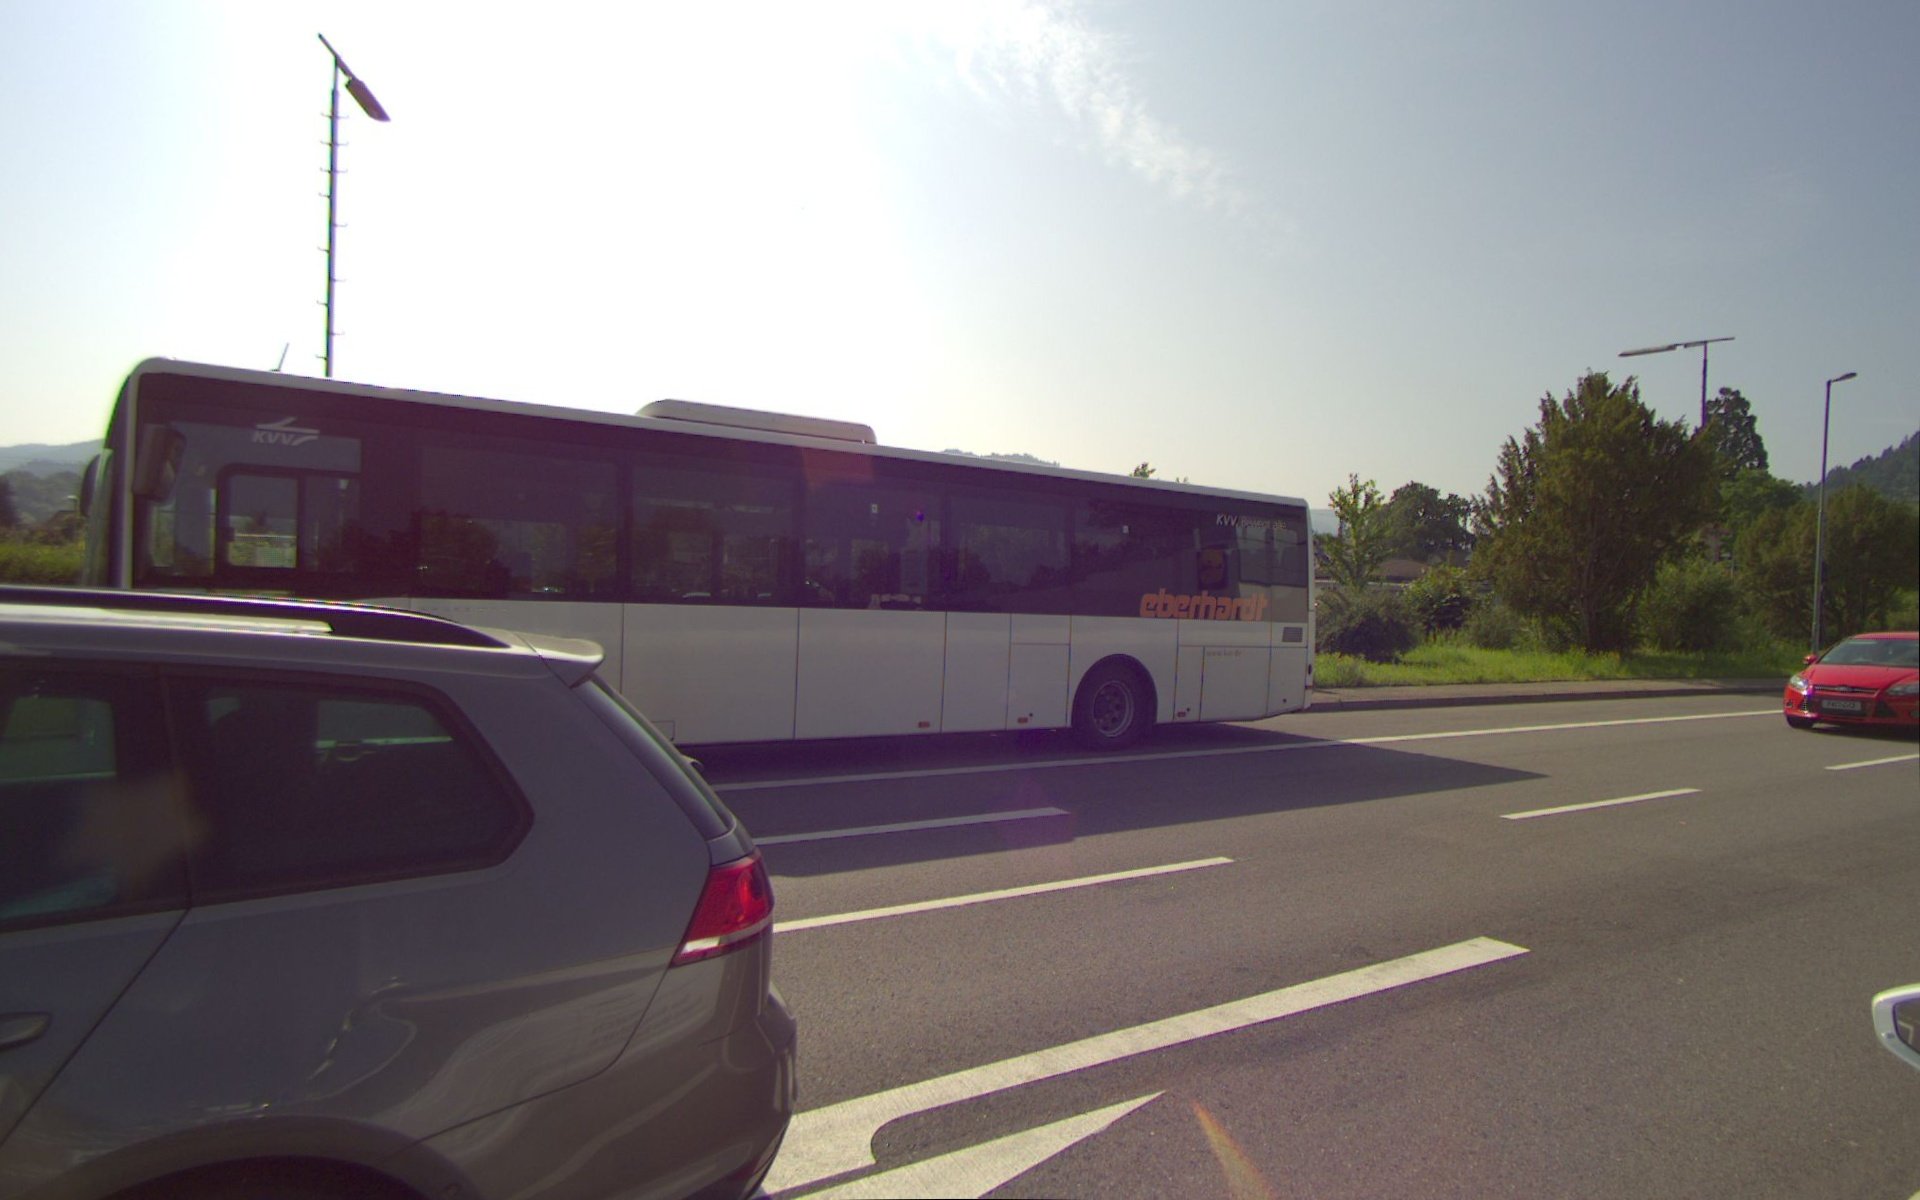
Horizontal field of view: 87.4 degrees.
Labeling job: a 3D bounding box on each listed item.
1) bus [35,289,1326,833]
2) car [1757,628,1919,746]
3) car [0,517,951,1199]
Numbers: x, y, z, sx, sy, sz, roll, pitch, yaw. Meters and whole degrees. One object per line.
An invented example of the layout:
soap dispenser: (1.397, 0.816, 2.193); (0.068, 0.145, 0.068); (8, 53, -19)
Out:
bus: (-1.257, -0.082, 10.382); (11.820, 3.354, 2.607); (2, -1, -31)
car: (14.156, 1.236, 15.221); (4.381, 1.512, 1.828); (2, -1, -31)
car: (-2.263, 0.622, 1.677); (4.170, 1.492, 1.764); (2, -1, -30)
